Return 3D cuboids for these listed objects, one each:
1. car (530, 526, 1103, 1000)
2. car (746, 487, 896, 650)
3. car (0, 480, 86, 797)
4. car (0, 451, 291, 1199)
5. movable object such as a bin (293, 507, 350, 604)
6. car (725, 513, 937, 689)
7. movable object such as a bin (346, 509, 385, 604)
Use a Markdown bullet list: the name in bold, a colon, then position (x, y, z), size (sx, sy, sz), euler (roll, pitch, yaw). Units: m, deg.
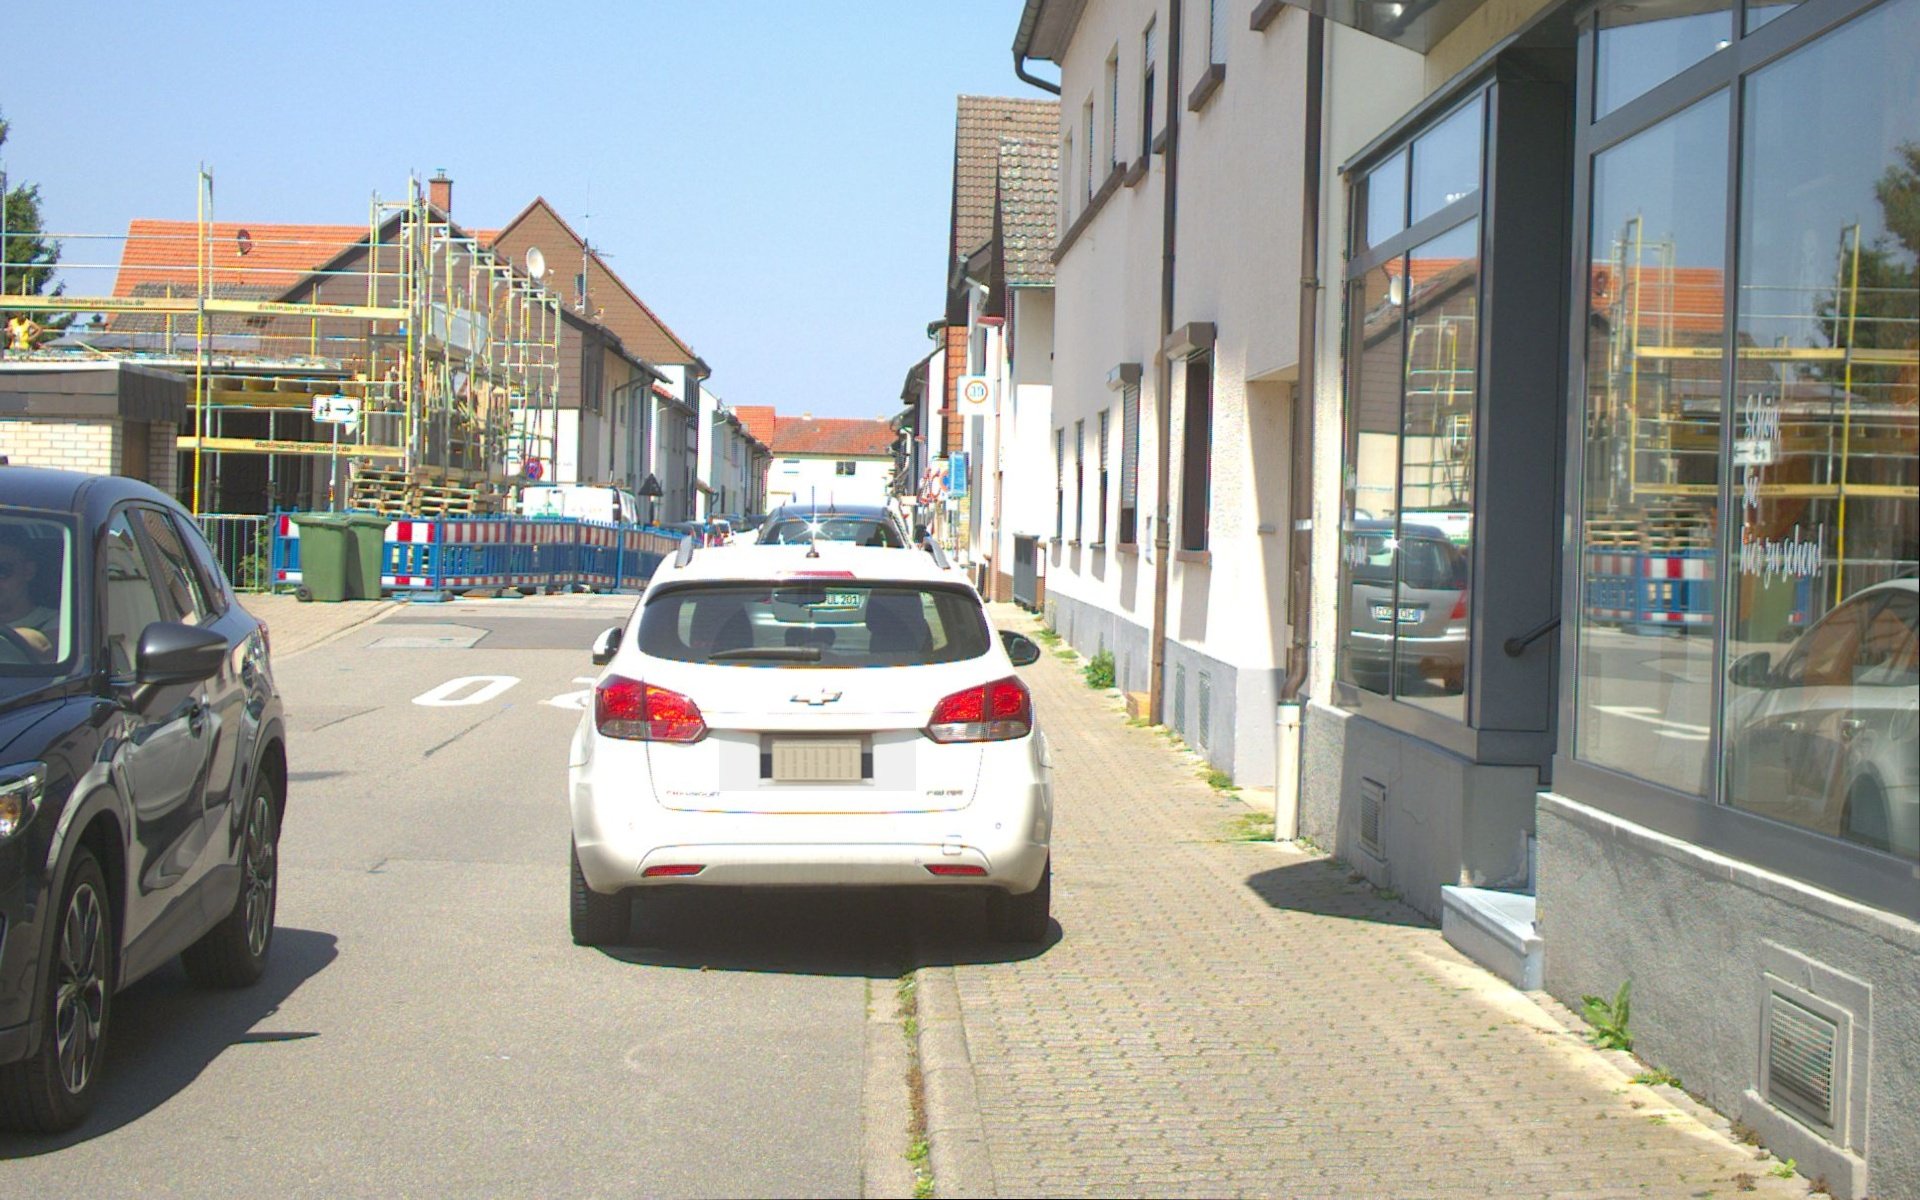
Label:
- **car**: position (-0.663, 0.511, 13.730), size (1.886, 1.536, 4.243), euler (2, 1, -5)
- **car**: position (-1.552, -0.394, 38.826), size (1.564, 1.607, 3.543), euler (2, 3, -2)
- **car**: position (-5.812, 0.174, 17.398), size (1.826, 1.625, 4.218), euler (2, 1, -2)
- **car**: position (-3.145, 0.421, 9.644), size (1.881, 1.662, 4.154), euler (2, 1, -3)
- **movable object such as a bin**: position (-7.800, -0.551, 42.023), size (0.621, 1.151, 0.677), euler (2, 1, -9)
- **car**: position (-1.318, -0.041, 33.656), size (1.884, 1.550, 3.895), euler (-2, 2, -4)
- **movable object such as a bin**: position (-7.356, -0.536, 42.515), size (0.431, 1.151, 0.364), euler (2, 1, -11)
